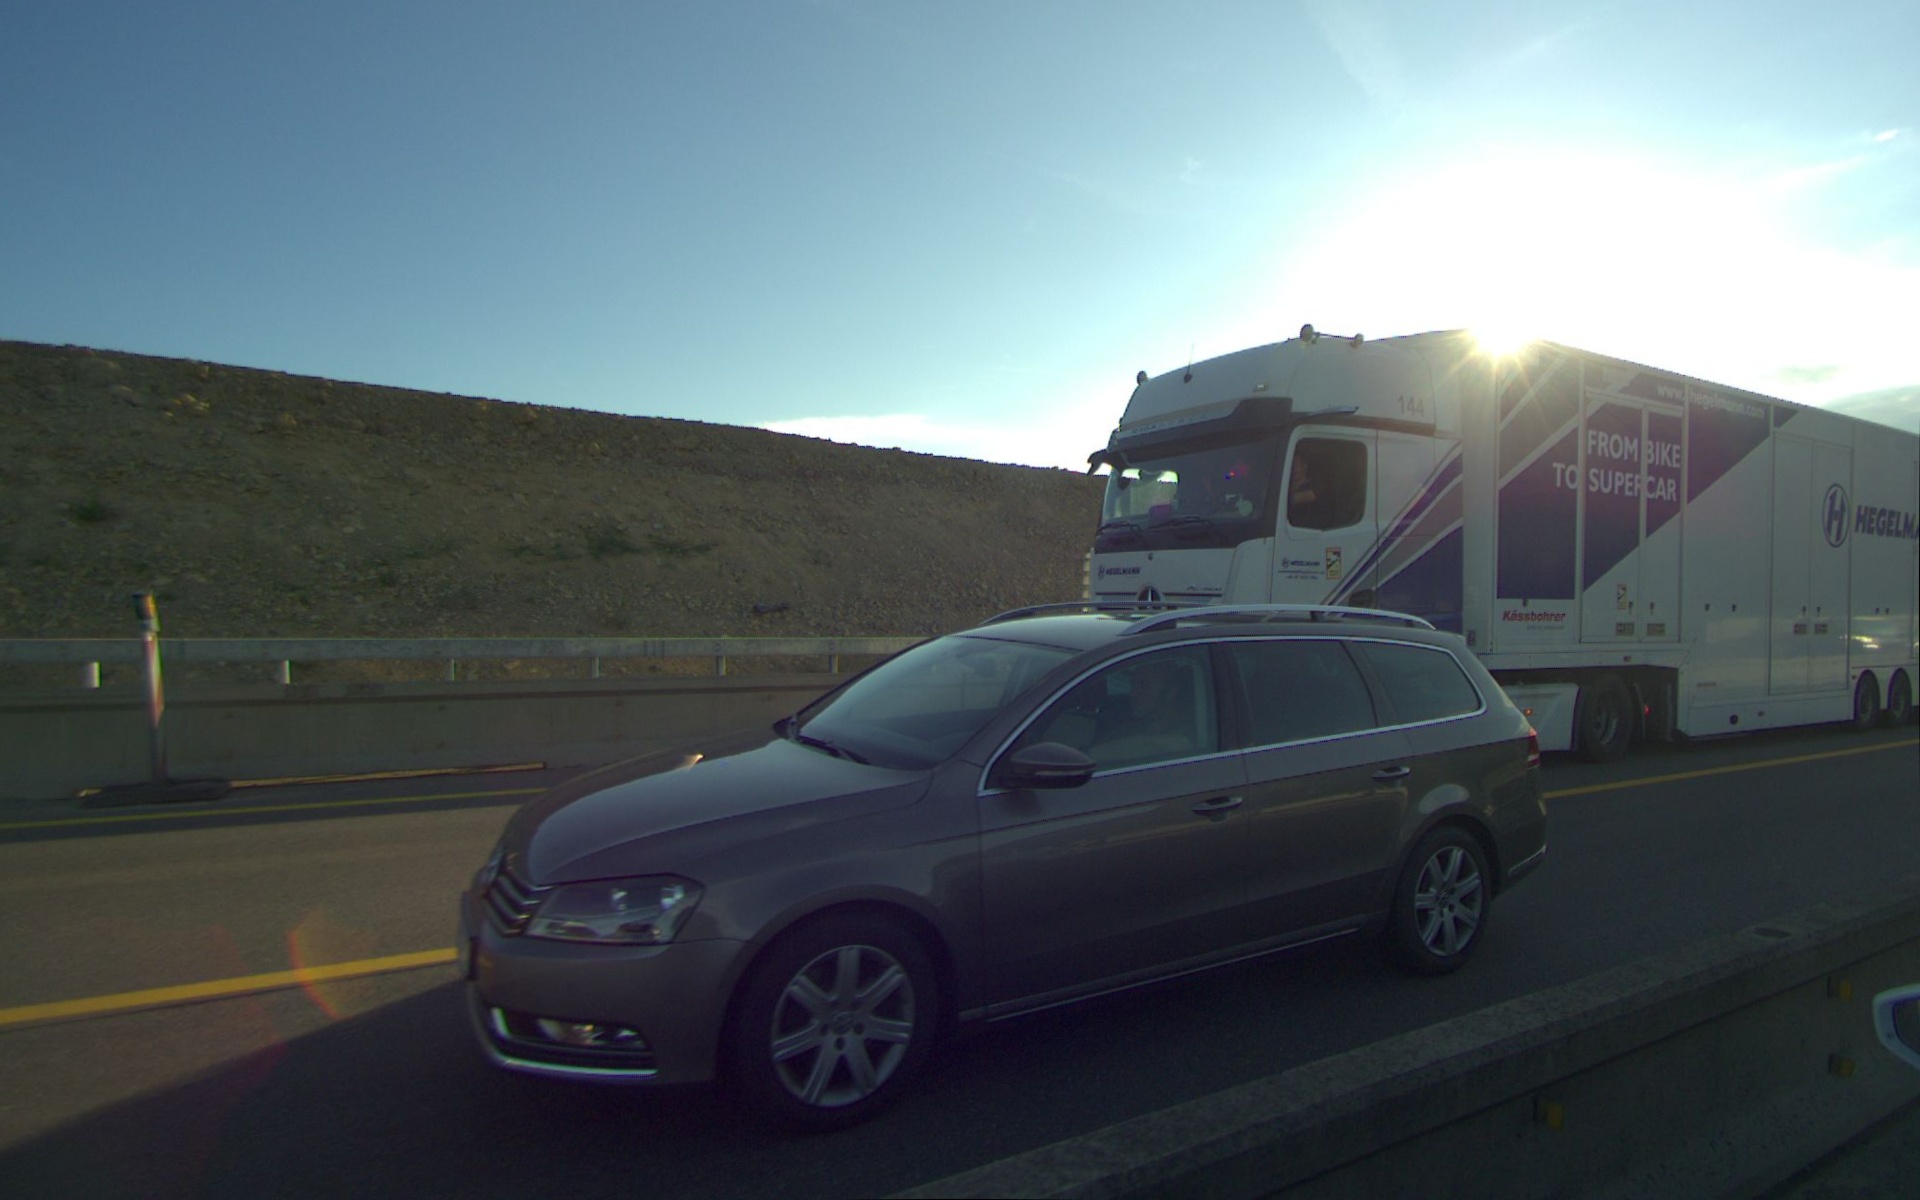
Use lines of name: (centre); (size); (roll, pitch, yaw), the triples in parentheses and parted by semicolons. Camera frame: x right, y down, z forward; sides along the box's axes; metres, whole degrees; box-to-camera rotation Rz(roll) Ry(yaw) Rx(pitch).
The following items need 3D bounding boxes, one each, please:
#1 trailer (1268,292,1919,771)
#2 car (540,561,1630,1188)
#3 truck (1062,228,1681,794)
trailer: (10.065, -0.463, 13.517); (13.769, 4.270, 2.519); (2, 1, -30)
car: (0.702, 0.718, 4.330); (4.457, 1.503, 1.841); (2, -1, -30)
truck: (4.272, -0.620, 10.188); (5.977, 4.277, 2.541); (2, 1, -29)
